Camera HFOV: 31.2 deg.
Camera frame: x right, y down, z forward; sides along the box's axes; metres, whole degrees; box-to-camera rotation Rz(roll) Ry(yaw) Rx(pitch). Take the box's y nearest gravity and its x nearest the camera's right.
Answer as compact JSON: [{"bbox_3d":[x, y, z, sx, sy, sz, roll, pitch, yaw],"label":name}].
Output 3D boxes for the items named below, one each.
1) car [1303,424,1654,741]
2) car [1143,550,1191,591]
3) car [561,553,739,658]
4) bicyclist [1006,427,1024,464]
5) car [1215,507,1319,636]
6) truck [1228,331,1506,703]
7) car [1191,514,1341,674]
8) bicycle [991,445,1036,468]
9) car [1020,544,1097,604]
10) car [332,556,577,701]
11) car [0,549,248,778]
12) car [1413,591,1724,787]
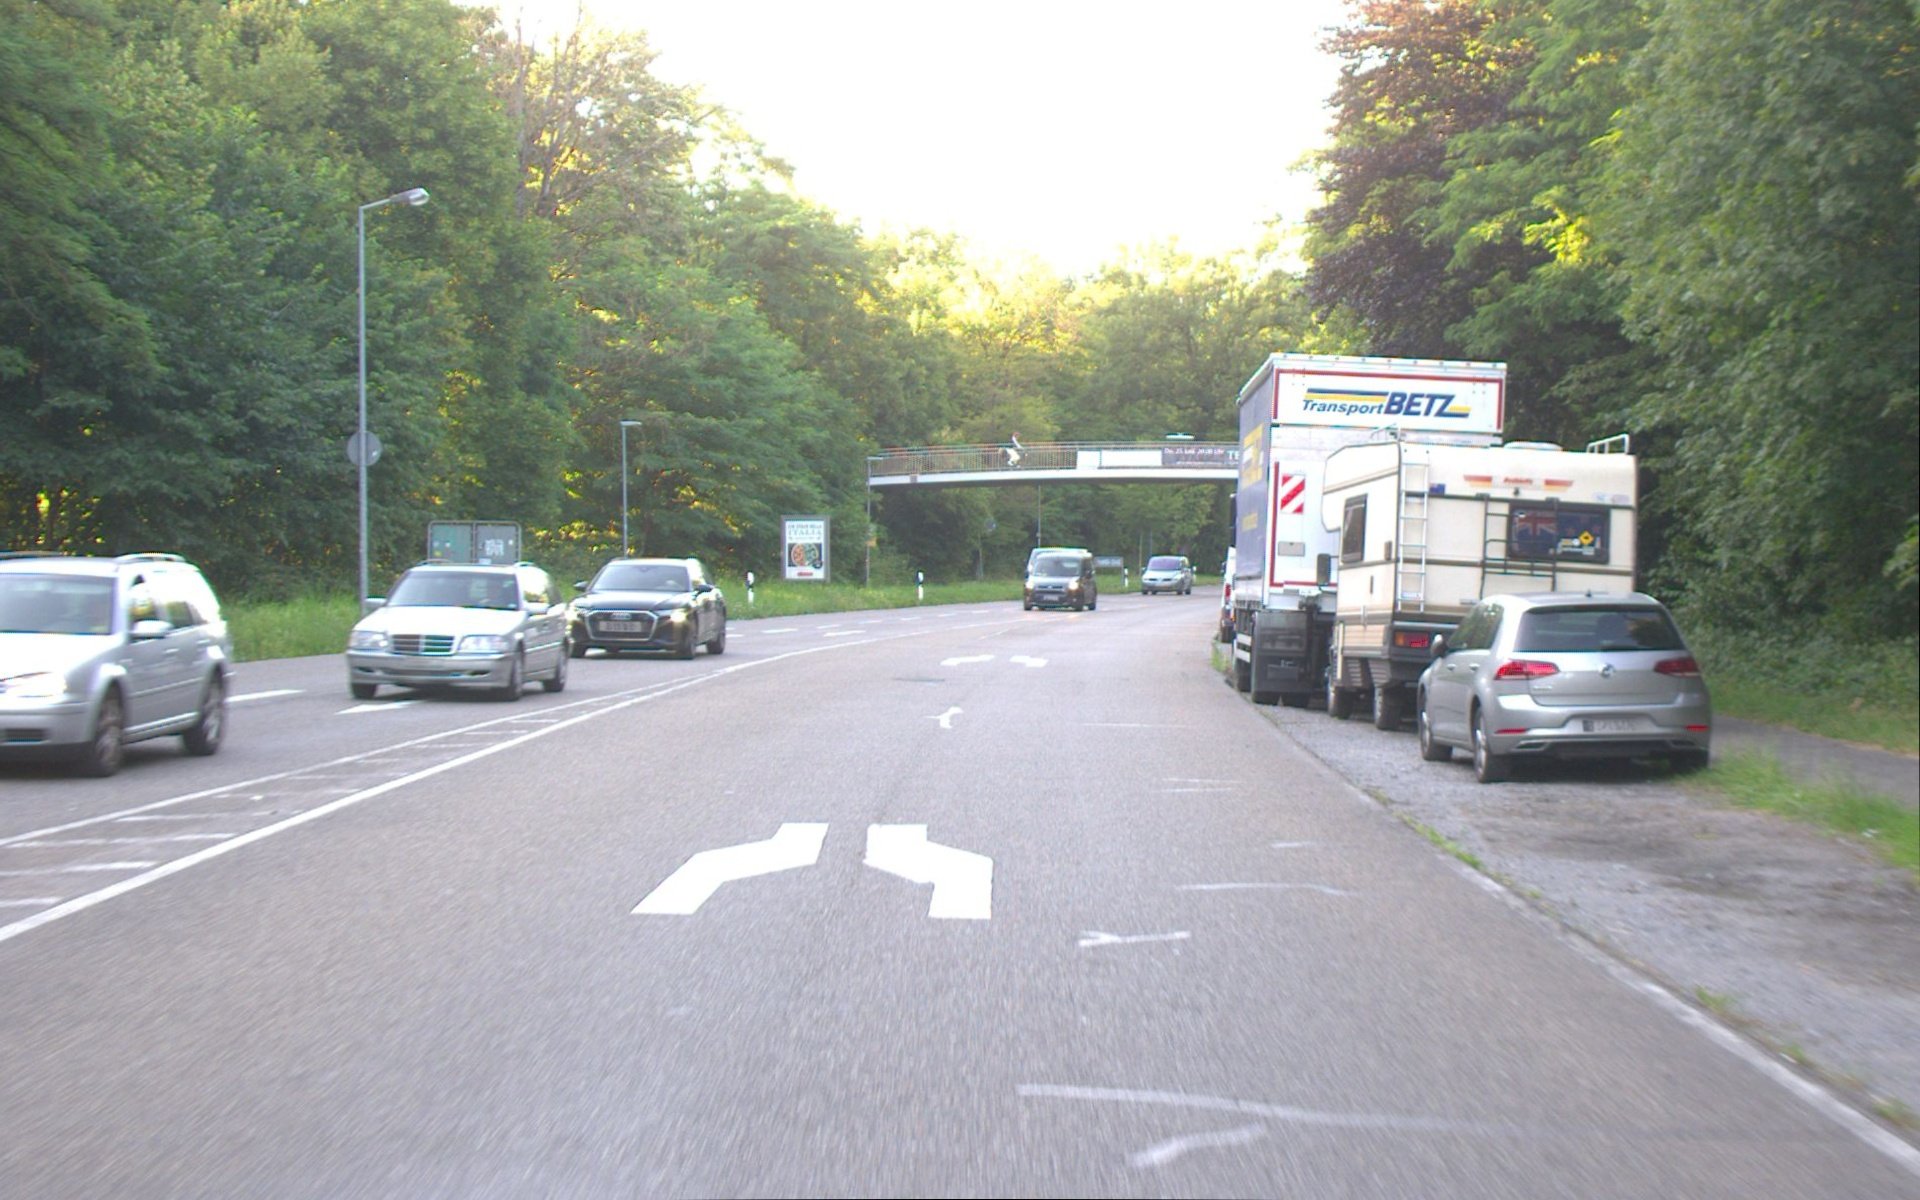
[{"bbox_3d":[5.025,-0.192,34.322,2.408,2.848,5.933,1,1,-1],"label":"car"},{"bbox_3d":[9.313,-1.332,154.376,1.844,1.729,3.999,2,1,8],"label":"car"},{"bbox_3d":[-4.592,0.046,51.556,1.892,1.435,4.769,2,1,4],"label":"car"},{"bbox_3d":[2.400,-6.703,149.056,0.665,1.576,0.547,1,1,10],"label":"bicyclist"},{"bbox_3d":[6.453,-0.609,72.364,1.964,2.503,6.014,3,1,5],"label":"car"},{"bbox_3d":[4.809,-0.977,42.314,2.658,4.014,9.721,1,1,3],"label":"truck"},{"bbox_3d":[4.514,-0.116,51.386,1.994,2.182,4.927,3,1,4],"label":"car"},{"bbox_3d":[2.320,-6.223,149.072,1.845,0.946,0.550,2,1,10],"label":"bicycle"},{"bbox_3d":[3.081,-0.810,106.567,1.844,1.794,4.746,2,1,8],"label":"car"},{"bbox_3d":[-5.271,0.252,36.339,1.720,1.392,4.374,1,1,3],"label":"car"},{"bbox_3d":[-6.342,0.375,23.975,1.716,1.441,4.173,0,1,3],"label":"car"},{"bbox_3d":[4.753,0.652,27.378,1.698,1.401,4.076,0,1,-1],"label":"car"}]
